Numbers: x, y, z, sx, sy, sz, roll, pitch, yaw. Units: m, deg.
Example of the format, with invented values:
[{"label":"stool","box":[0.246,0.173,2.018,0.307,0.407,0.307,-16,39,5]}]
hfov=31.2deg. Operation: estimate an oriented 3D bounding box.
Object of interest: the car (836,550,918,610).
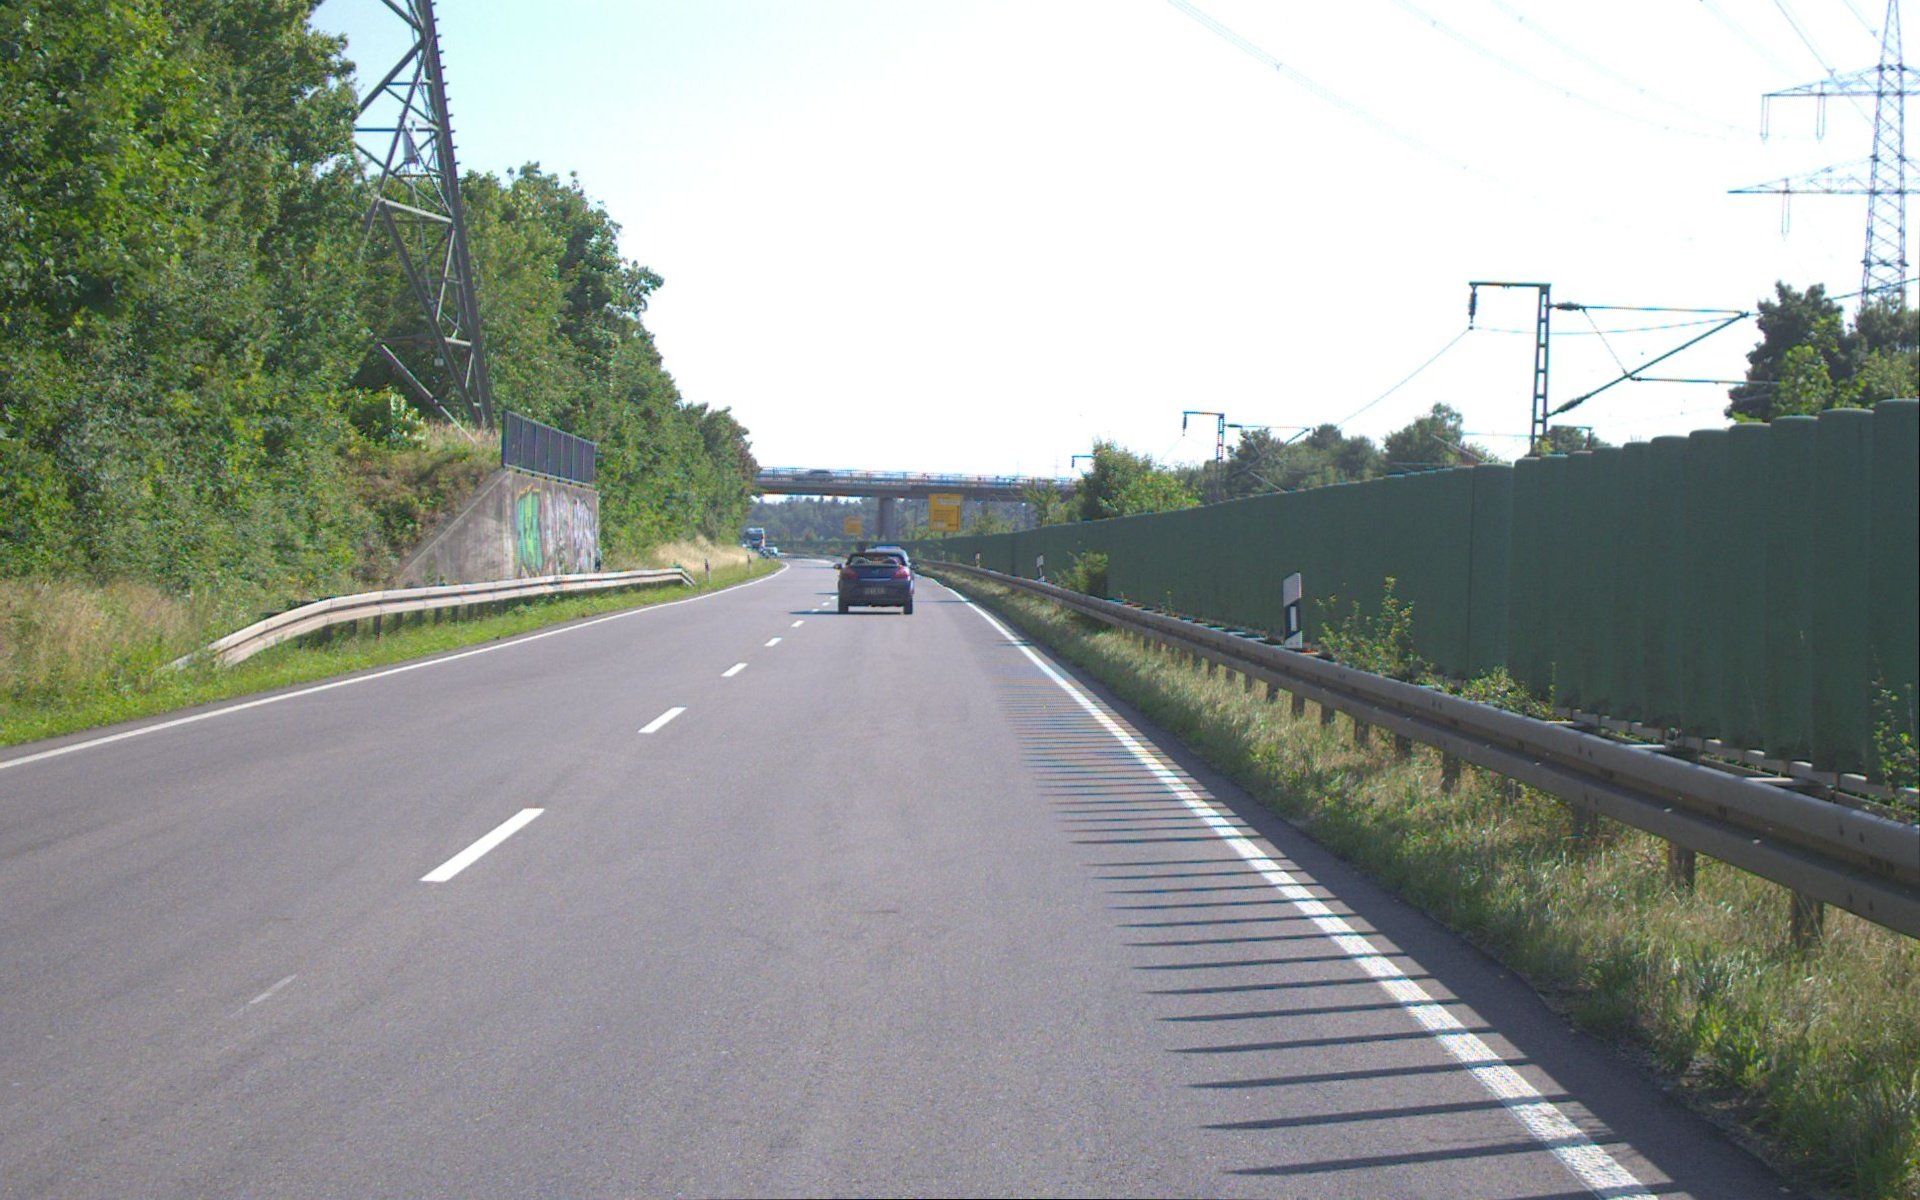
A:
[{"label":"car","box":[-1.859,-0.455,75.927,1.663,1.257,4.001,1,1,-3]}]
